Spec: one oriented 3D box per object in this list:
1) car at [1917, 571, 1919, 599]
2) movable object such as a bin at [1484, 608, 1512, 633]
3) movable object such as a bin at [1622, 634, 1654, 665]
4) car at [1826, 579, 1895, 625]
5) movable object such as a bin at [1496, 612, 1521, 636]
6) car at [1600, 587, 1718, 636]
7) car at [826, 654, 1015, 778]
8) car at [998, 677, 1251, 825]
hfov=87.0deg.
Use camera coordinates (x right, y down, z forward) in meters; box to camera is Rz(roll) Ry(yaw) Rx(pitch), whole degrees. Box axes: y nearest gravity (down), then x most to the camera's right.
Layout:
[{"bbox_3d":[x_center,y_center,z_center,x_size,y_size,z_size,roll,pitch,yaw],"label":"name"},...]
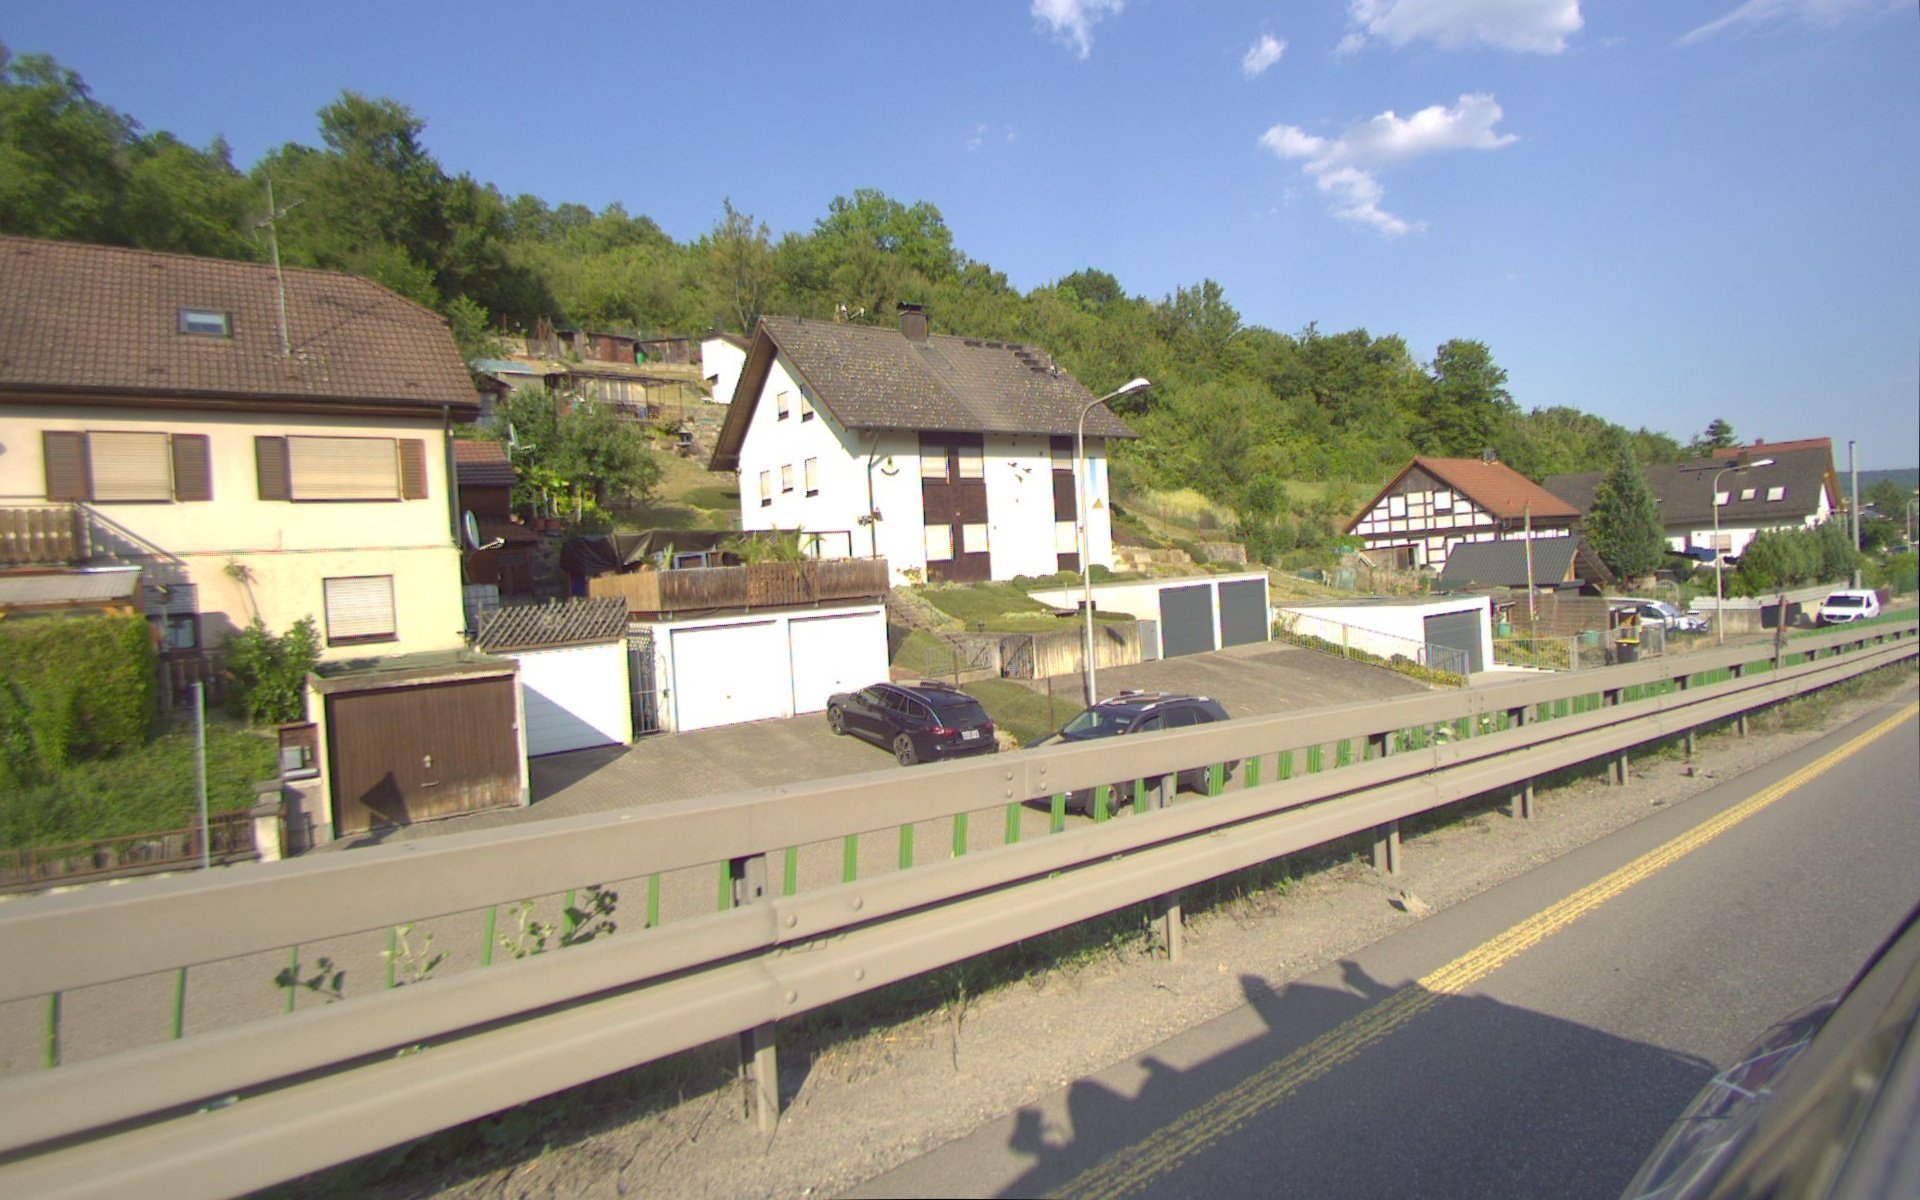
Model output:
[{"bbox_3d":[71.860,-1.068,74.181,3.928,2.038,1.998,-1,2,-39],"label":"car"},{"bbox_3d":[20.964,0.800,39.436,0.668,0.912,0.791,-1,1,-40],"label":"movable object such as a bin"},{"bbox_3d":[23.365,1.689,34.874,0.665,1.014,0.723,-1,-1,-38],"label":"movable object such as a bin"},{"bbox_3d":[42.750,0.071,48.031,4.209,1.966,1.823,-3,1,-40],"label":"car"},{"bbox_3d":[21.770,0.948,40.151,0.668,0.912,0.688,-1,1,-40],"label":"movable object such as a bin"},{"bbox_3d":[31.518,0.469,45.734,1.718,1.861,3.999,-2,4,-37],"label":"car"},{"bbox_3d":[-0.980,2.367,21.936,1.962,1.542,4.514,-3,8,-34],"label":"car"},{"bbox_3d":[2.998,2.541,18.033,4.415,1.806,1.868,-3,3,-35],"label":"car"}]
